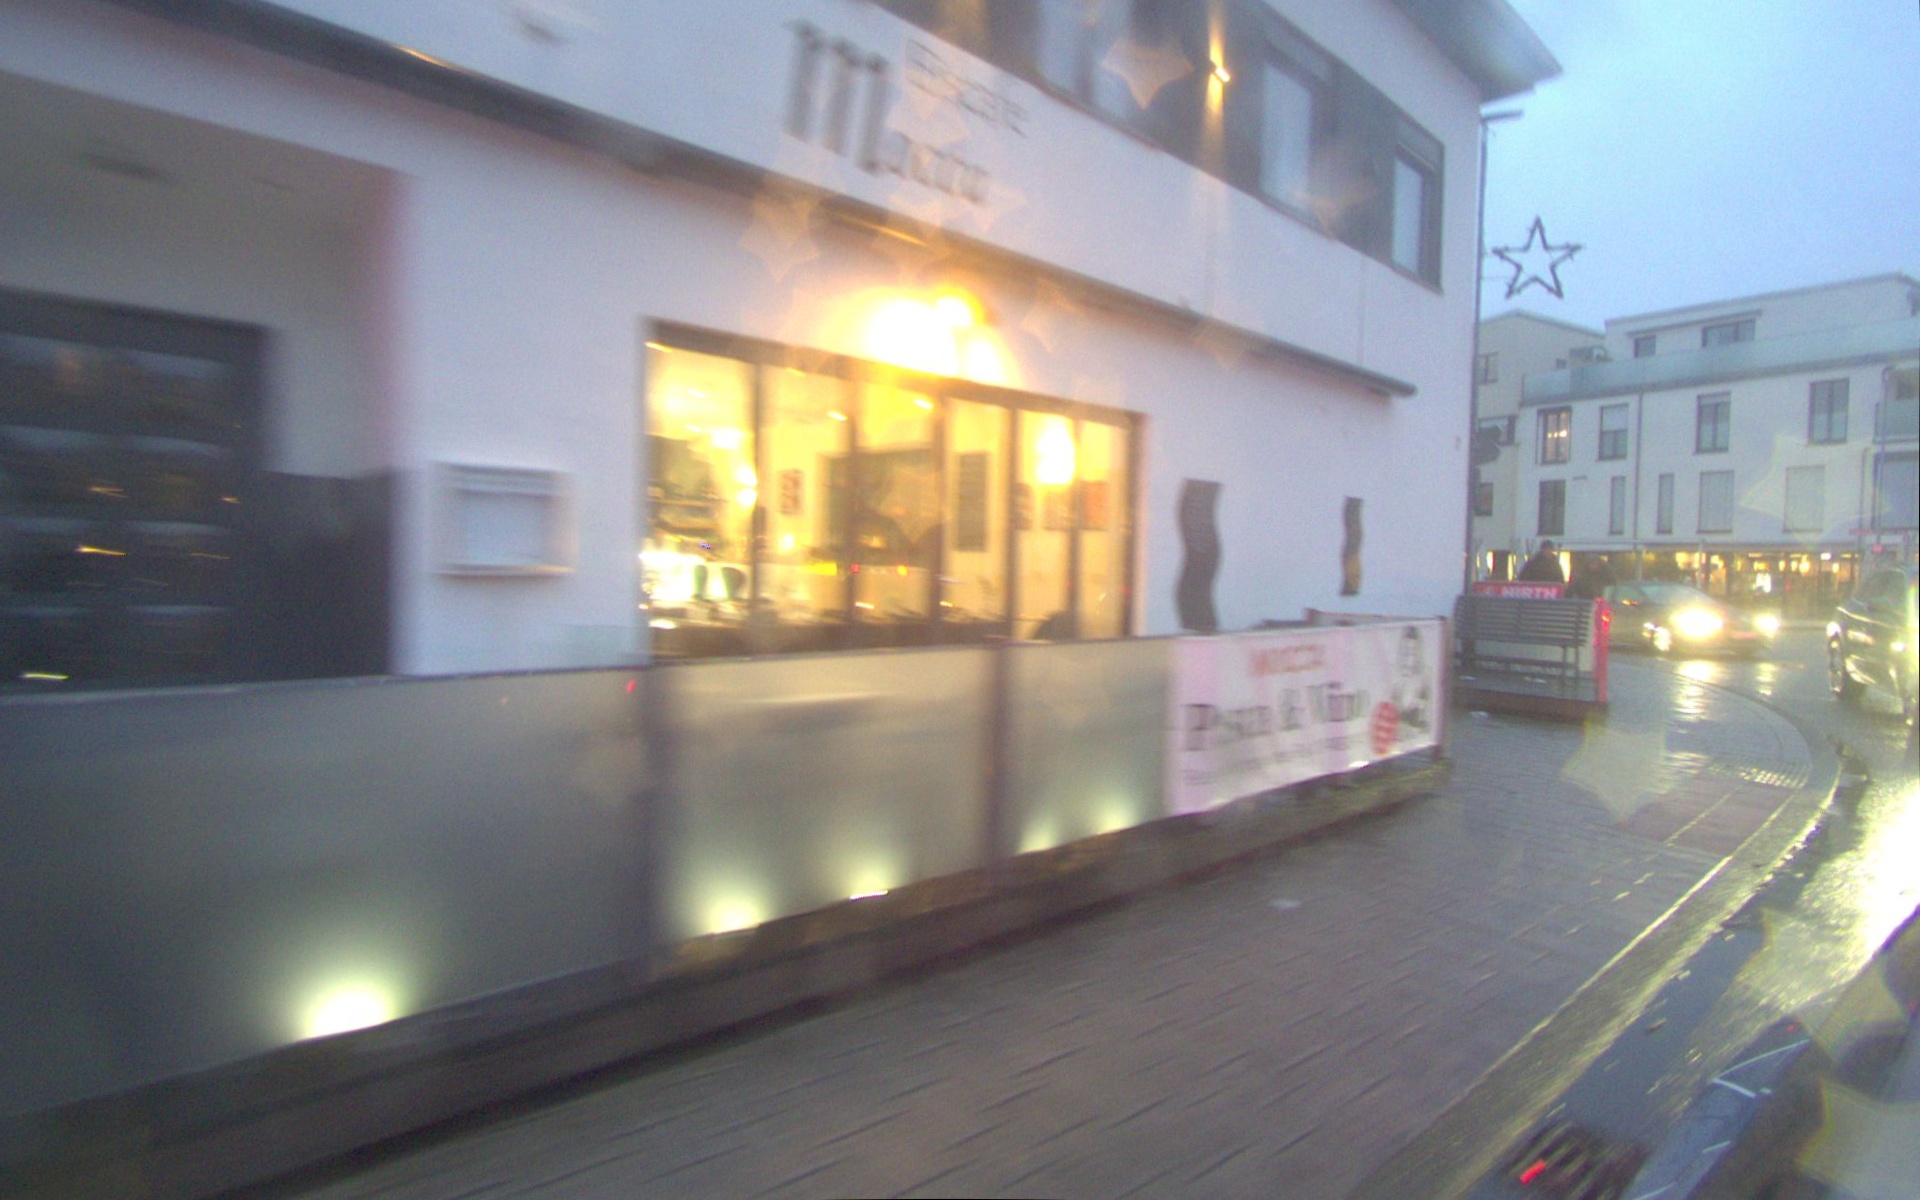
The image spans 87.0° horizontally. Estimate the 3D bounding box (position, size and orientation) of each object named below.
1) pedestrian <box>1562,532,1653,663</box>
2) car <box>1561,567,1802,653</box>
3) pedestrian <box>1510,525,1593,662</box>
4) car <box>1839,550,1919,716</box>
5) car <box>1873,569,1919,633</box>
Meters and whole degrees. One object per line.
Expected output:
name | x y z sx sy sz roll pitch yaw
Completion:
pedestrian | 9.149 -0.045 14.326 0.754 1.783 0.791 -2 1 3
car | 14.129 0.129 20.142 1.729 1.498 4.023 -1 1 -4
pedestrian | 8.406 -0.101 14.421 0.697 1.889 0.791 -2 1 3
car | 10.672 0.303 10.240 1.943 1.605 4.066 0 1 30
car | 25.691 -0.044 25.457 4.463 1.497 2.033 -3 2 -17
